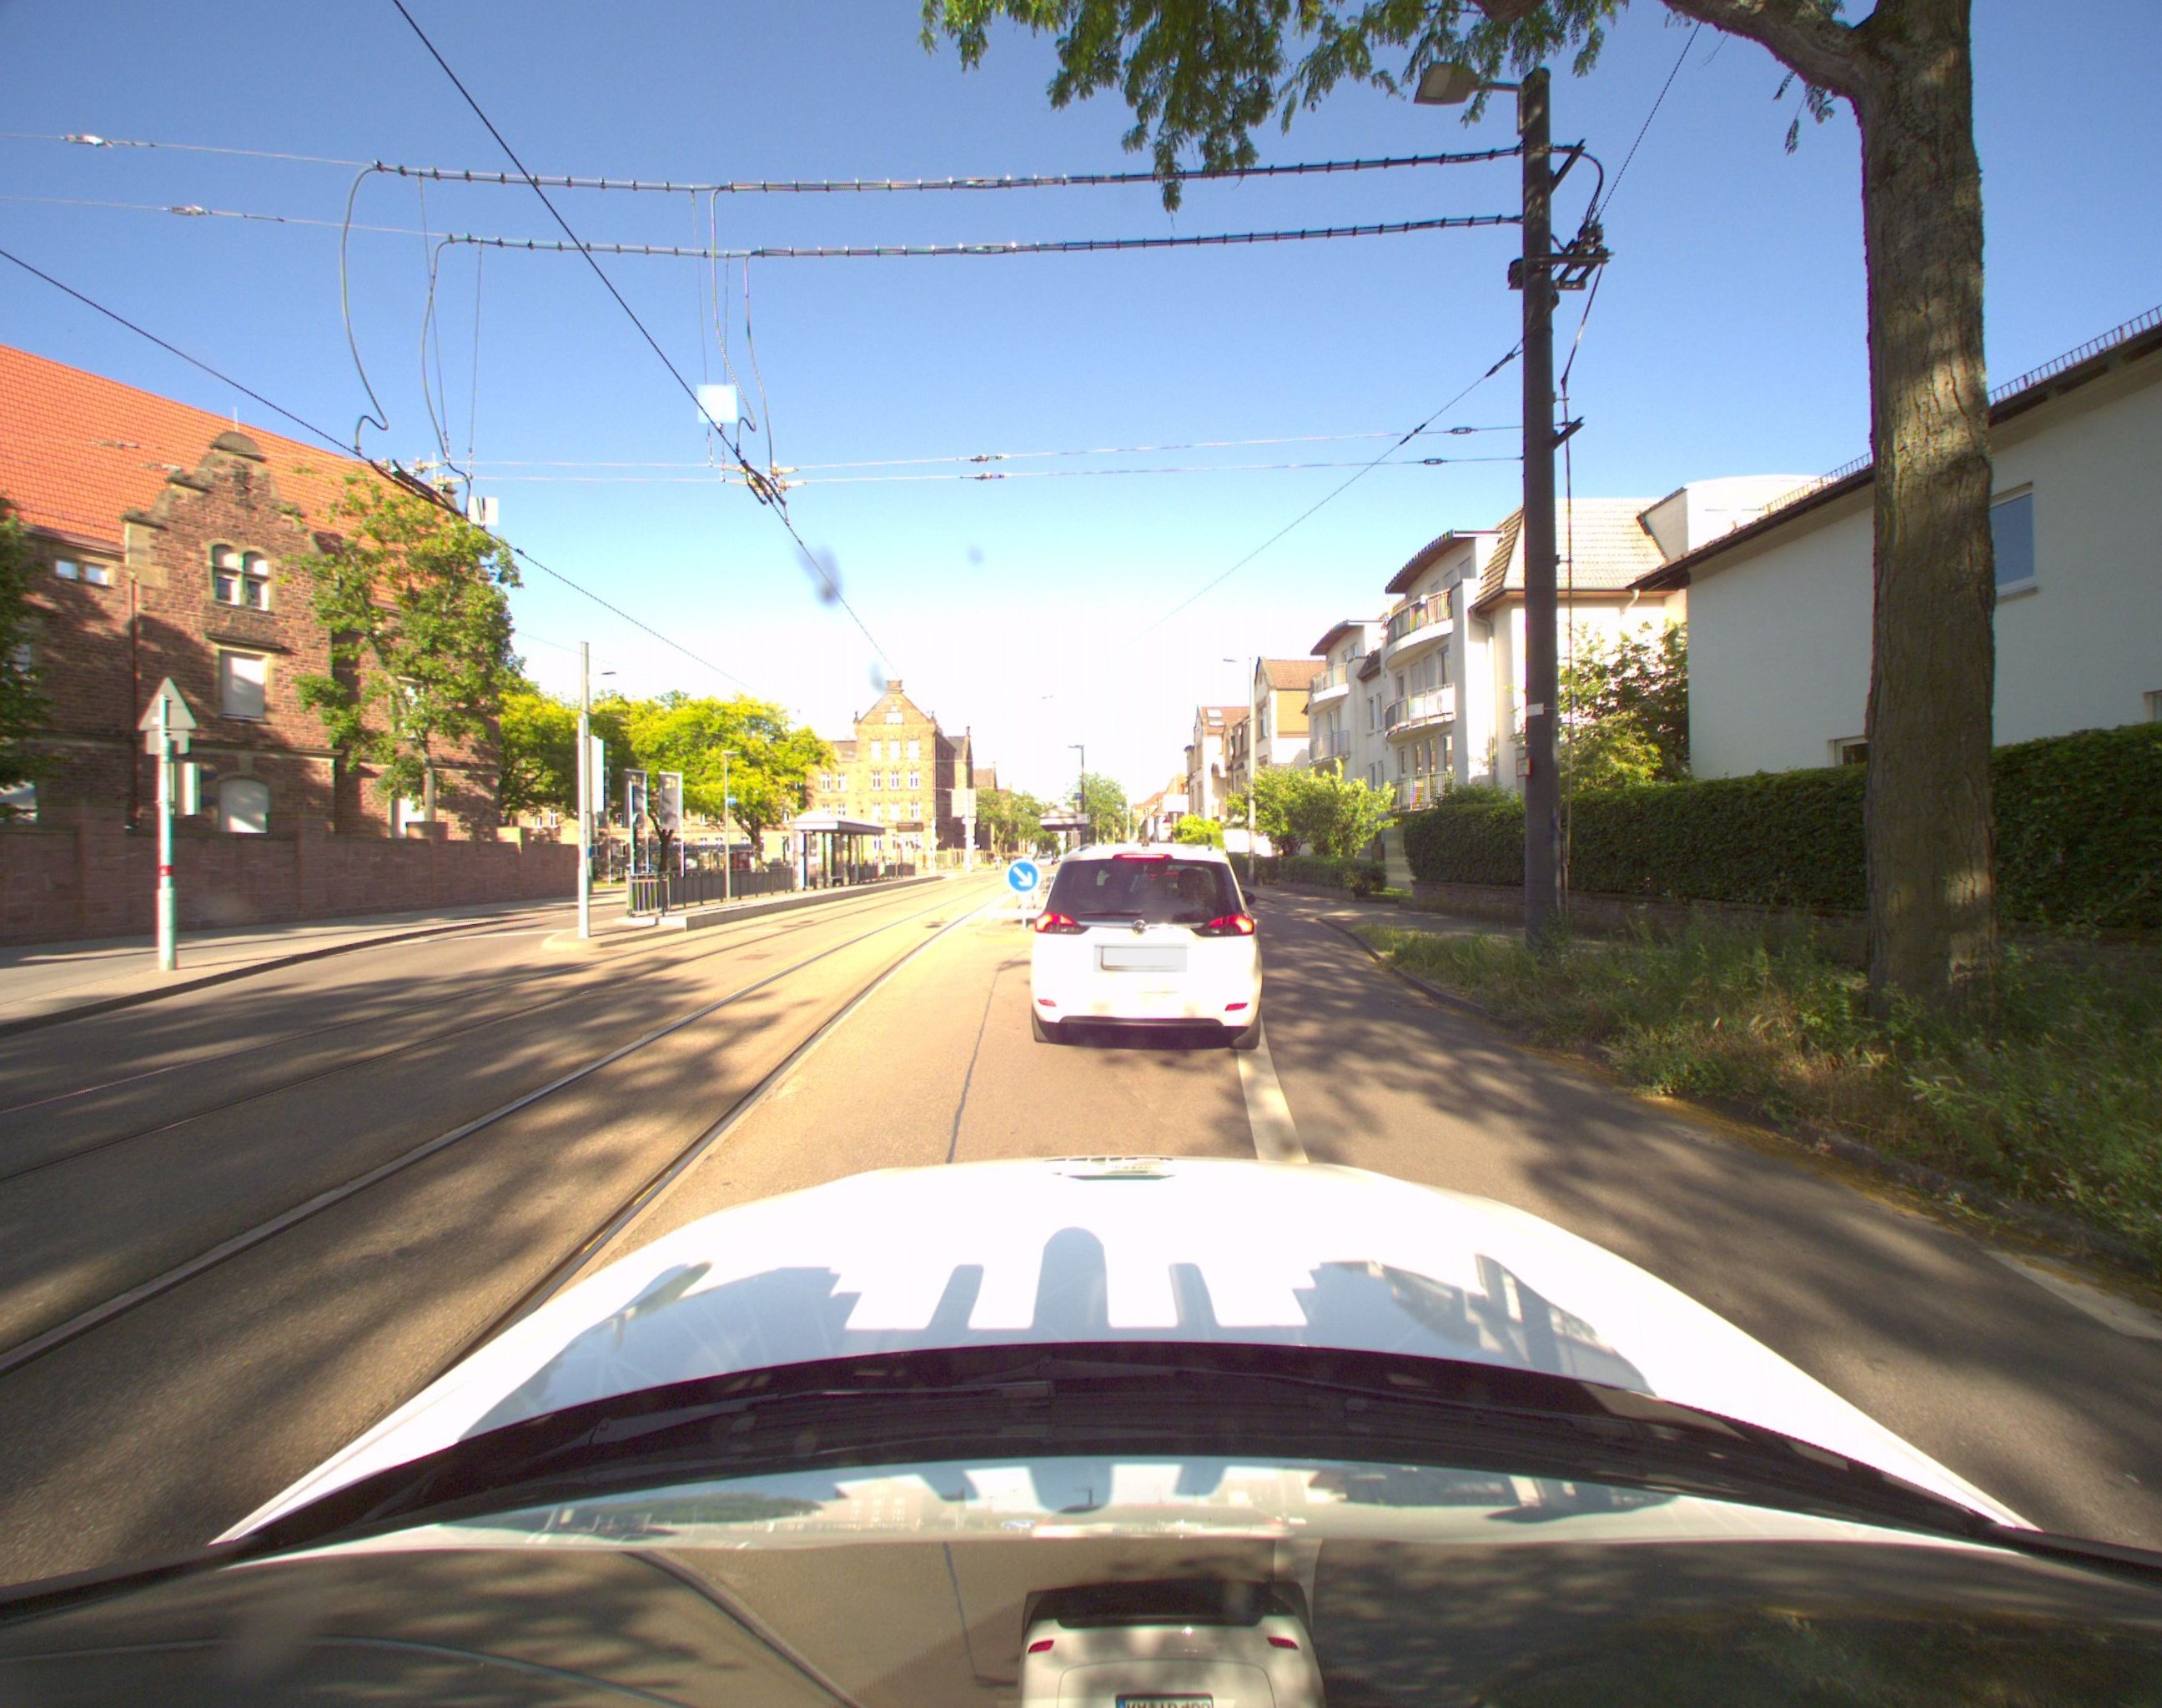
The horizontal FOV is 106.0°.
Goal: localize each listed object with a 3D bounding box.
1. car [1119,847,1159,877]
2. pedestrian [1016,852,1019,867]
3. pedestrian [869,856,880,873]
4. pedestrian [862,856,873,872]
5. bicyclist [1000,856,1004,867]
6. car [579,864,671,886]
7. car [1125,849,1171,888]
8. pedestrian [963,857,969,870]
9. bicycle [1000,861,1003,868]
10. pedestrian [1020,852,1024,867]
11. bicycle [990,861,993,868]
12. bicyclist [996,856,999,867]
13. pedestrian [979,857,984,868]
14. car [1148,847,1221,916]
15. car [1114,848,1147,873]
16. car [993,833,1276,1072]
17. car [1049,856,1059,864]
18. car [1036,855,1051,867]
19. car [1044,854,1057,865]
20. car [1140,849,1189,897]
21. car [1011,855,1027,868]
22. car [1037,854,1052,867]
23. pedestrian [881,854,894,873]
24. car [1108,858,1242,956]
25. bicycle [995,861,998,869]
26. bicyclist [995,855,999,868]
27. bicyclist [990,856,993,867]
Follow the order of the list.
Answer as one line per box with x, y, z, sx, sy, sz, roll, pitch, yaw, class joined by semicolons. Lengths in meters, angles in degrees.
3.129;0.417;44.381;1.986;1.503;4.002;-1;0;2;car
-8.770;0.779;112.385;0.443;2.013;0.495;-1;0;-2;pedestrian
-19.278;0.945;76.156;0.799;1.588;0.934;0;-1;-1;pedestrian
-20.769;0.987;79.252;0.799;1.588;0.934;0;-1;-1;pedestrian
-10.663;1.001;109.608;0.443;1.553;0.495;-1;0;-2;bicyclist
-42.660;1.947;76.321;6.927;1.921;2.992;-1;0;0;car
2.933;0.614;36.255;1.824;1.579;4.012;-1;0;2;car
-15.046;1.281;106.182;0.733;1.714;0.705;0;-1;-6;pedestrian
-10.662;1.468;109.613;0.343;0.950;0.996;0;-1;-1;bicycle
-8.164;0.777;112.651;0.443;2.013;0.495;-1;0;-2;pedestrian
-12.679;1.532;115.641;0.343;0.950;0.996;0;-1;-1;bicycle
-10.980;0.983;107.029;0.443;1.553;0.495;-1;0;-2;bicyclist
-15.368;1.301;125.658;0.733;1.714;0.753;0;-1;-4;pedestrian
2.577;0.641;20.899;1.630;1.601;3.859;-1;0;4;car
3.103;0.387;51.849;1.986;1.503;4.002;-1;0;2;car
0.648;0.688;7.709;1.982;1.644;4.003;0;0;8;car
-5.706;1.204;172.314;1.989;1.629;3.984;-1;0;-3;car
-5.298;0.957;114.749;1.989;1.629;3.996;-1;0;-3;car
-5.104;0.917;135.715;1.987;1.629;4.000;-1;0;0;car
2.947;0.638;29.325;1.630;1.601;3.859;-1;0;4;car
-8.193;0.928;107.485;1.989;1.629;3.996;-1;0;-3;car
-4.816;0.896;107.627;1.989;1.629;3.996;-1;0;-3;car
-17.796;0.882;74.806;0.892;1.684;1.029;0;-1;1;pedestrian
1.535;0.795;14.071;1.944;1.397;4.005;-1;0;4;car
-10.715;1.420;103.528;0.343;0.950;1.160;0;-1;-1;bicycle
-10.708;0.953;103.738;0.443;1.553;0.742;-1;0;-2;bicyclist
-12.686;1.064;115.607;0.443;1.553;0.495;-1;0;-2;bicyclist
